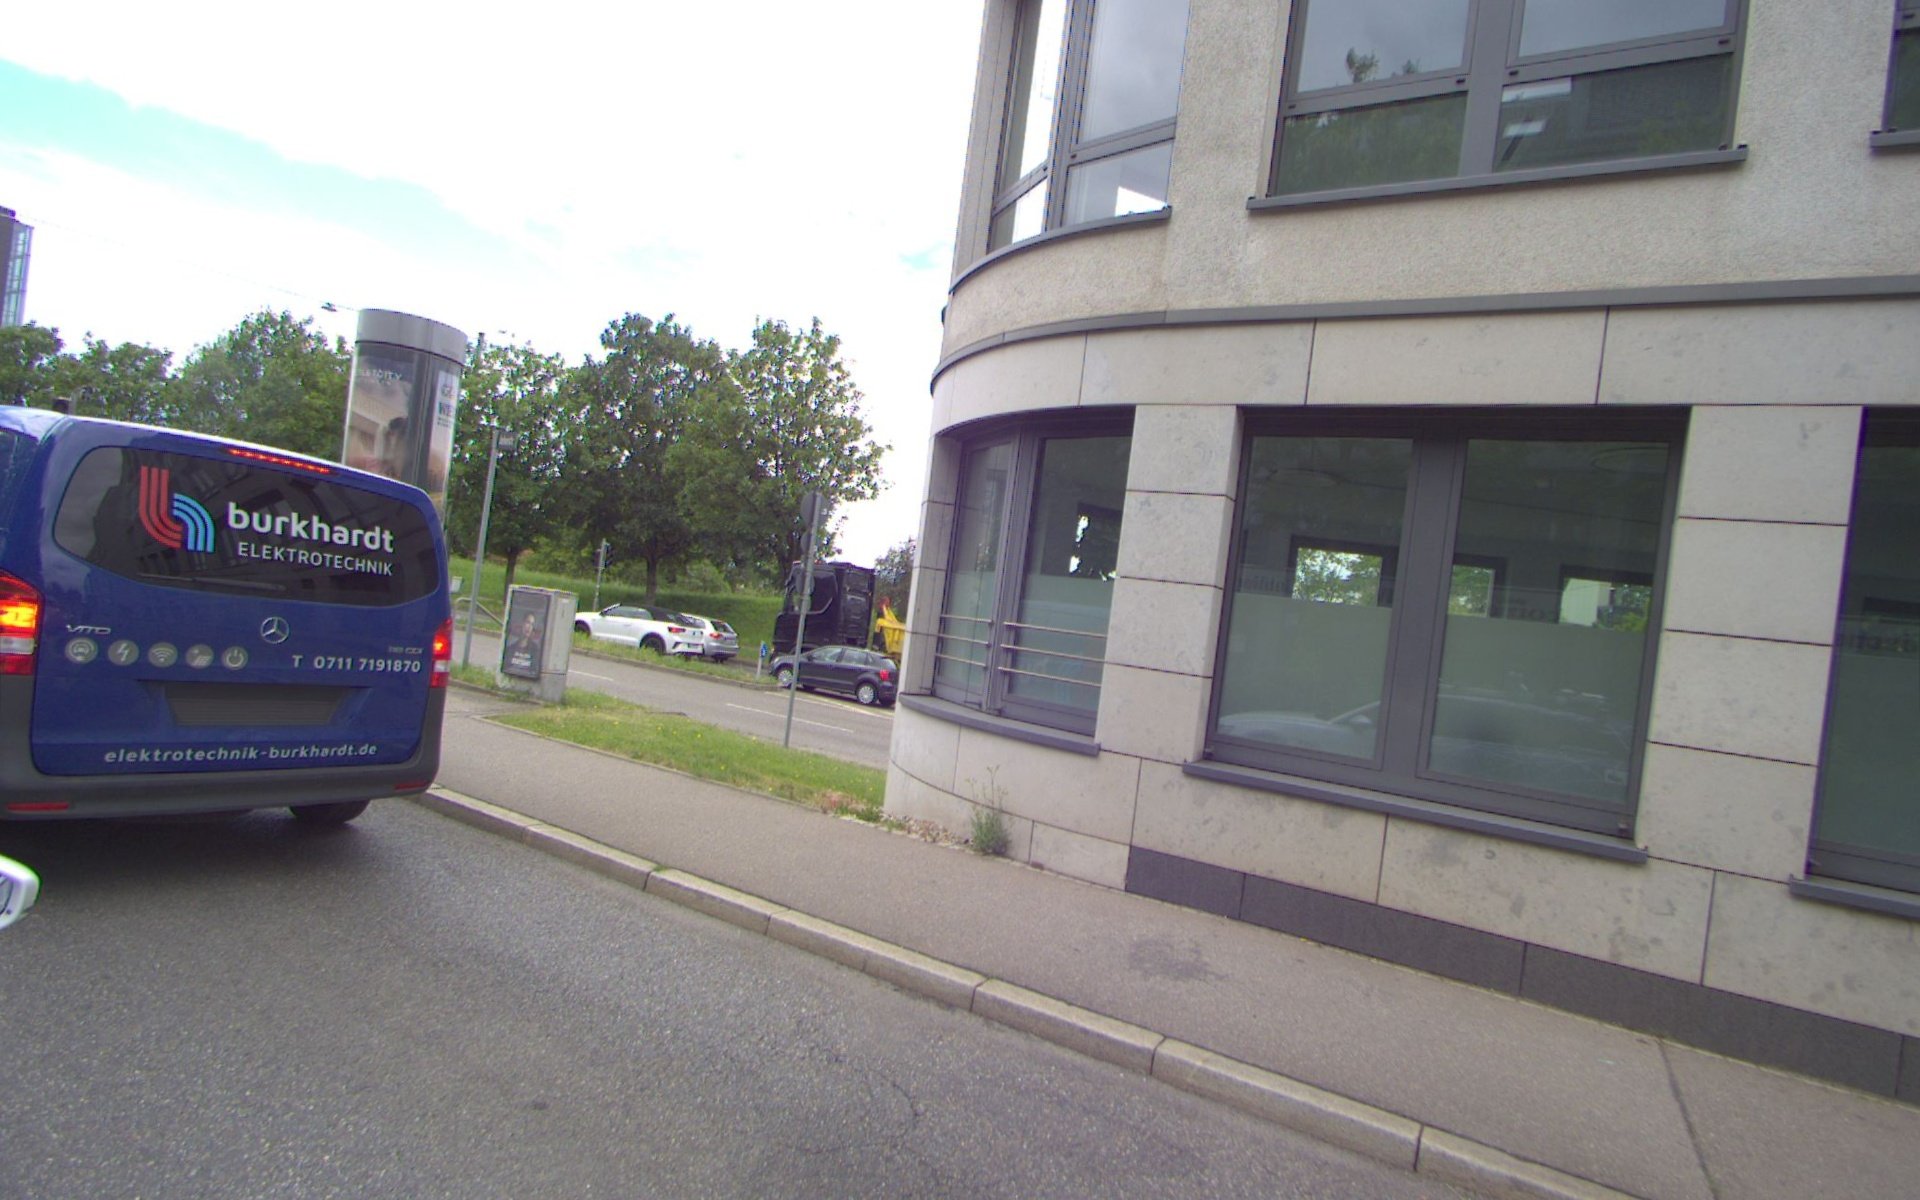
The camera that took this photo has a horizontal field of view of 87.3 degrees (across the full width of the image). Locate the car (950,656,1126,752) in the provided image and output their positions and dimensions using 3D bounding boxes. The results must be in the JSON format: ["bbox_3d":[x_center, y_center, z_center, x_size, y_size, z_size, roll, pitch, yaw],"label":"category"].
[{"bbox_3d":[2.020,2.630,25.707,3.925,1.723,2.003,8,-3,19],"label":"car"}]

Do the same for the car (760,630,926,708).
[{"bbox_3d":[-3.196,1.909,27.728,3.925,1.469,2.003,8,-3,19],"label":"car"}]

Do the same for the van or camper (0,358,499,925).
[{"bbox_3d":[-4.929,-0.013,5.427,4.949,1.934,1.862,7,-1,32],"label":"van or camper"}]

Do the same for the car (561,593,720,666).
[{"bbox_3d":[-9.494,0.890,29.968,3.925,1.469,2.003,8,-3,19],"label":"car"}]

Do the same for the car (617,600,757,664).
[{"bbox_3d":[-9.102,1.078,33.596,3.925,1.469,2.003,8,-3,19],"label":"car"}]

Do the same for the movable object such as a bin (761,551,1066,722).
[{"bbox_3d":[-1.394,1.051,30.558,8.410,3.949,2.870,7,-1,18],"label":"movable object such as a bin"}]
